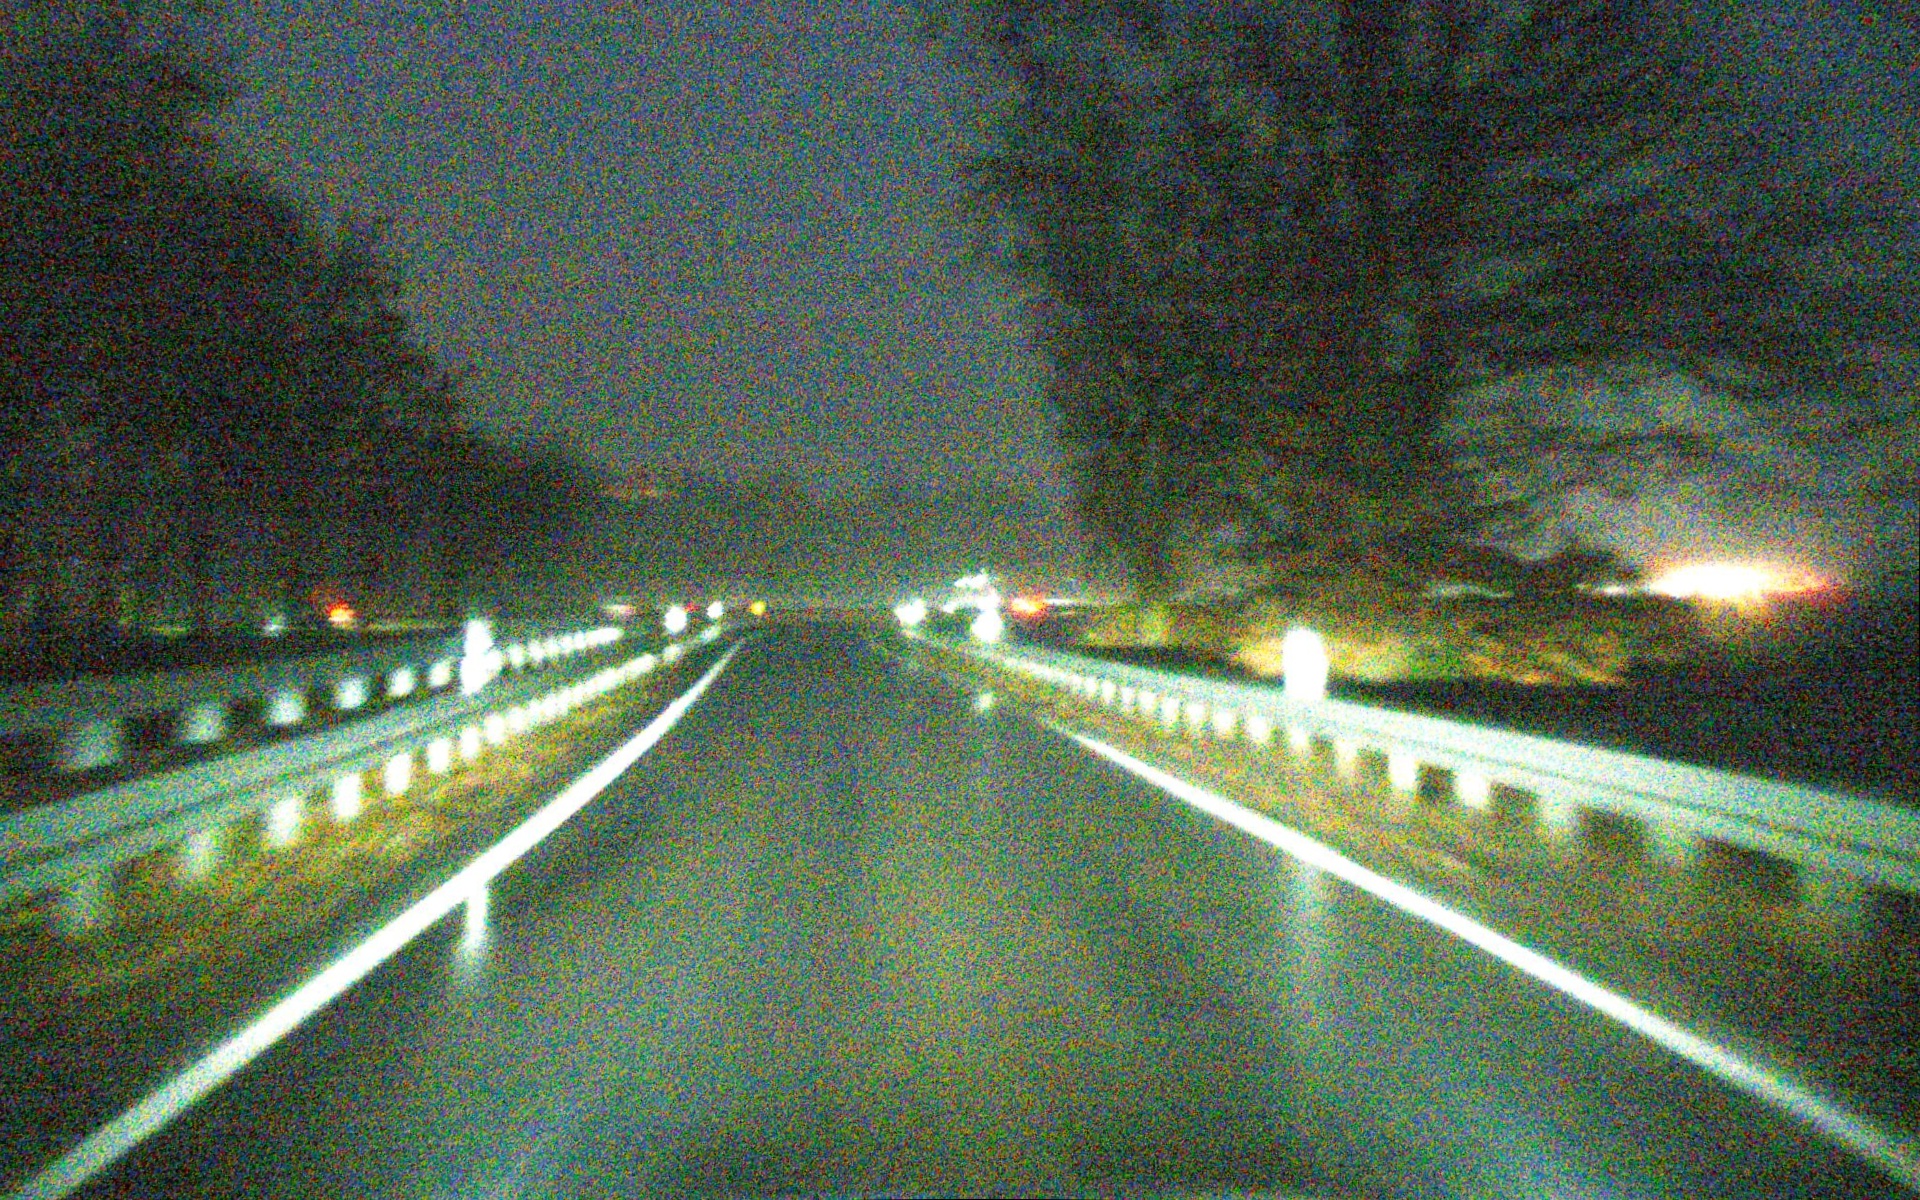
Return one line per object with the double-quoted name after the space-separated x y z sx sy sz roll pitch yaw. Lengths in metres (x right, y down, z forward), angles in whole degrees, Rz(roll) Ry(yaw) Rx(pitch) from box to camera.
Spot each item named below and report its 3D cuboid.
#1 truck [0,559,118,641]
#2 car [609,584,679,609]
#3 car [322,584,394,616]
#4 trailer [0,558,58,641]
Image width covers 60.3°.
-43.445 -0.018 78.856 2.553 3.776 5.419 2 1 45 "truck"
-20.178 -0.209 105.732 1.966 1.545 3.974 2 1 43 "car"
-39.504 -0.018 108.558 1.938 2.049 3.974 2 1 43 "car"
-48.183 -0.065 74.030 2.557 3.790 13.553 2 1 45 "trailer"
